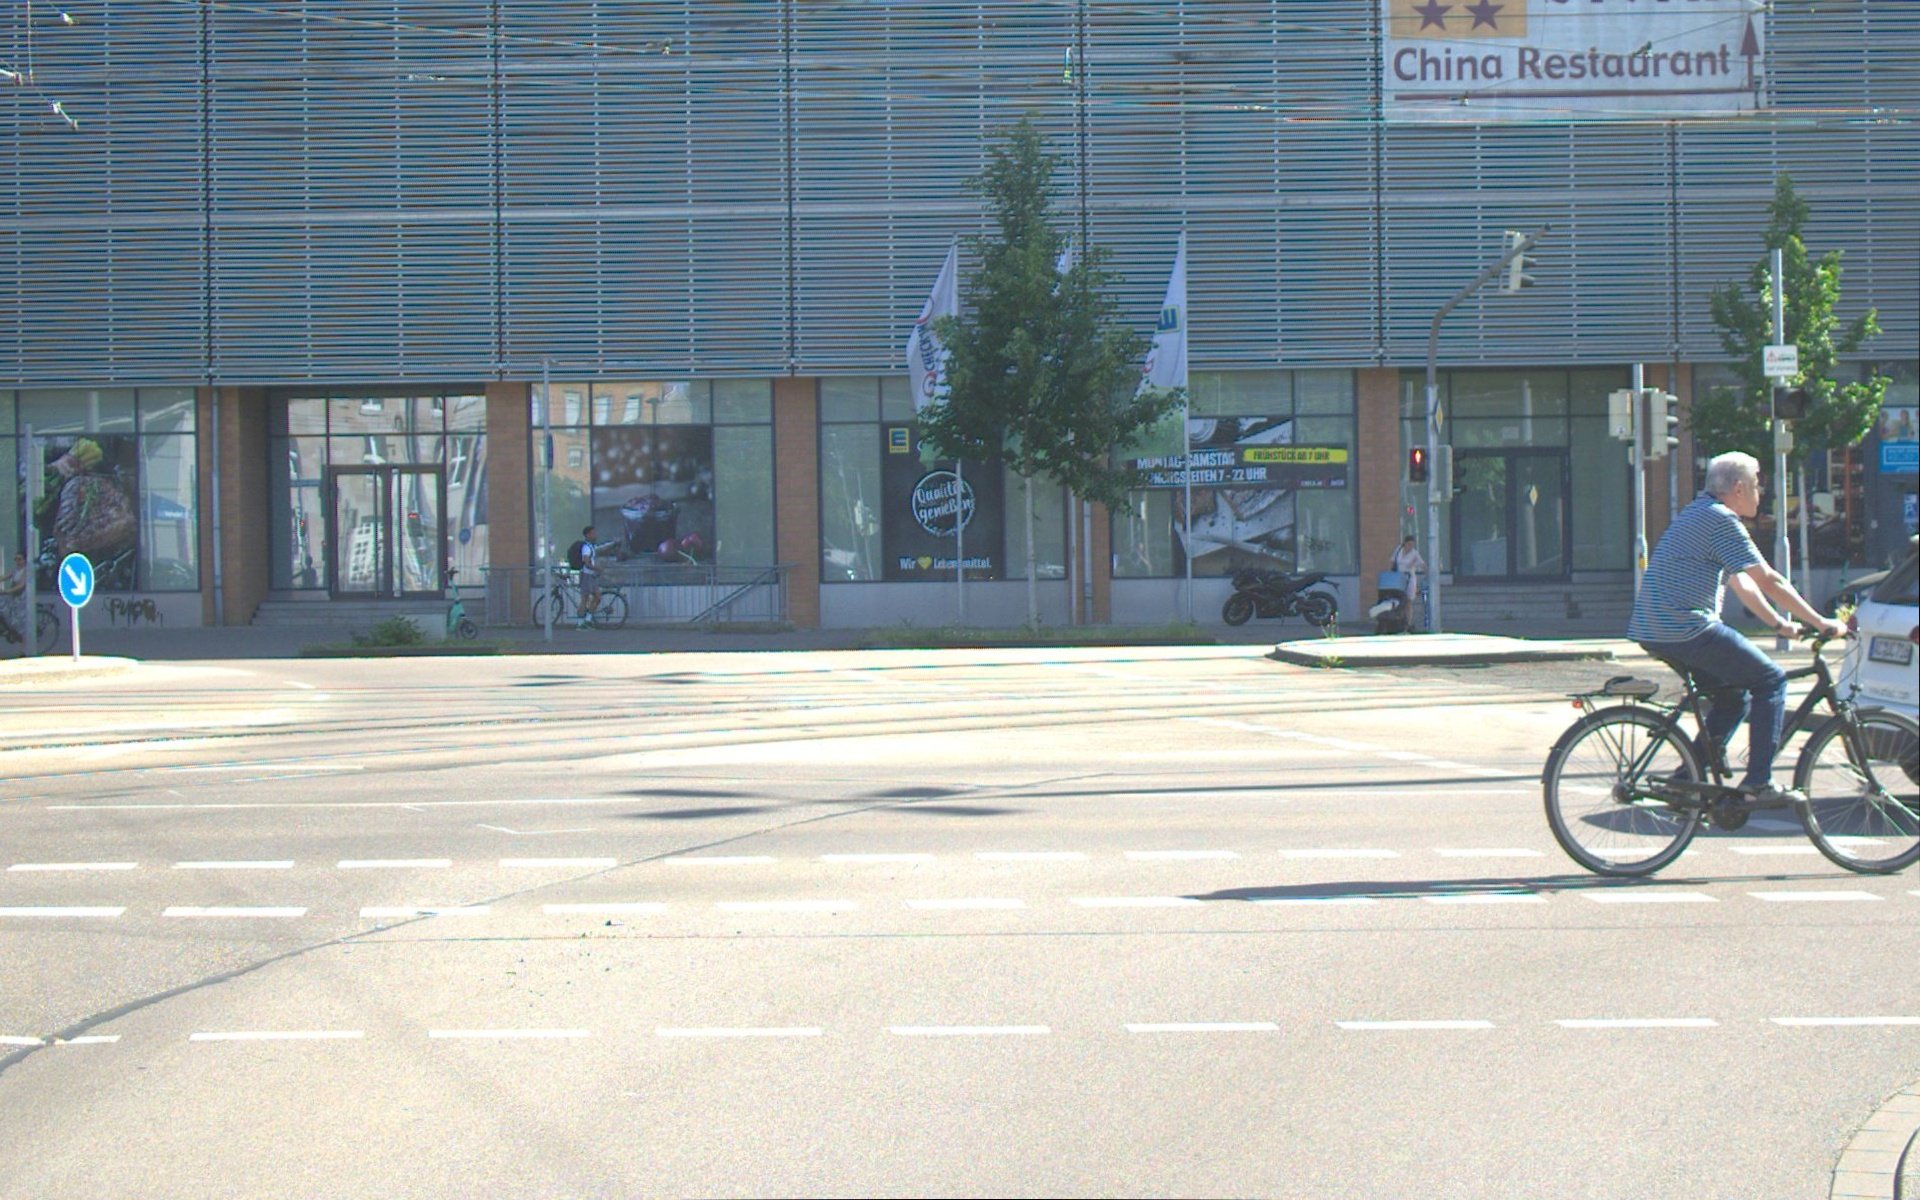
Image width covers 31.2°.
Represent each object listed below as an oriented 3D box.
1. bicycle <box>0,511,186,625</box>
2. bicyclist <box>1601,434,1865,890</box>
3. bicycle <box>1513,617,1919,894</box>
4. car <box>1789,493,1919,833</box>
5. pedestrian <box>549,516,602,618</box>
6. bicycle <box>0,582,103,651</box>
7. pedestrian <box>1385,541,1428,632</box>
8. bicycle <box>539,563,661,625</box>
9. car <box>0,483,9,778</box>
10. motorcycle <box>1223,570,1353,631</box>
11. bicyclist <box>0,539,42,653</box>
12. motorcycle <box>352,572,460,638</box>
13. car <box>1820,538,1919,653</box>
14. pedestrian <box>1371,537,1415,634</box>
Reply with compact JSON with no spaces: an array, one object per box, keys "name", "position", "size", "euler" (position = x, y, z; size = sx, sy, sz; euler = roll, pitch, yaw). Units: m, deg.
[{"name":"bicycle","position":[-16.008,-0.584,61.570],"size":[3.987,2.007,1.330],"euler":[0,1,0]},{"name":"bicyclist","position":[3.239,0.249,14.469],"size":[0.902,1.853,0.854],"euler":[-1,1,0]},{"name":"bicycle","position":[3.312,0.639,14.474],"size":[1.828,1.112,0.853],"euler":[0,1,0]},{"name":"car","position":[6.755,0.256,17.685],"size":[4.488,1.629,1.840],"euler":[-1,2,-5]},{"name":"pedestrian","position":[-6.695,-0.573,59.837],"size":[0.848,1.757,0.620],"euler":[-1,1,-1]},{"name":"bicycle","position":[-14.985,0.262,54.988],"size":[2.238,1.067,1.046],"euler":[-1,1,-41]},{"name":"pedestrian","position":[7.205,-0.217,55.456],"size":[0.589,1.457,0.658],"euler":[0,1,-1]},{"name":"bicycle","position":[-6.345,-0.108,60.681],"size":[2.026,1.055,1.145],"euler":[-1,1,-1]},{"name":"car","position":[-7.820,0.207,19.080],"size":[4.634,1.712,1.840],"euler":[0,2,-5]},{"name":"motorcycle","position":[5.804,0.002,60.924],"size":[2.202,1.039,1.061],"euler":[0,1,0]},{"name":"bicyclist","position":[-15.226,-0.074,54.778],"size":[0.843,1.797,0.816],"euler":[-1,1,-42]},{"name":"motorcycle","position":[-9.055,0.082,56.175],"size":[1.652,1.055,0.497],"euler":[0,1,9]},{"name":"car","position":[13.886,-0.088,45.748],"size":[4.487,1.489,1.495],"euler":[-1,1,0]},{"name":"pedestrian","position":[6.880,-0.237,54.652],"size":[0.589,1.529,0.658],"euler":[0,1,-1]}]
